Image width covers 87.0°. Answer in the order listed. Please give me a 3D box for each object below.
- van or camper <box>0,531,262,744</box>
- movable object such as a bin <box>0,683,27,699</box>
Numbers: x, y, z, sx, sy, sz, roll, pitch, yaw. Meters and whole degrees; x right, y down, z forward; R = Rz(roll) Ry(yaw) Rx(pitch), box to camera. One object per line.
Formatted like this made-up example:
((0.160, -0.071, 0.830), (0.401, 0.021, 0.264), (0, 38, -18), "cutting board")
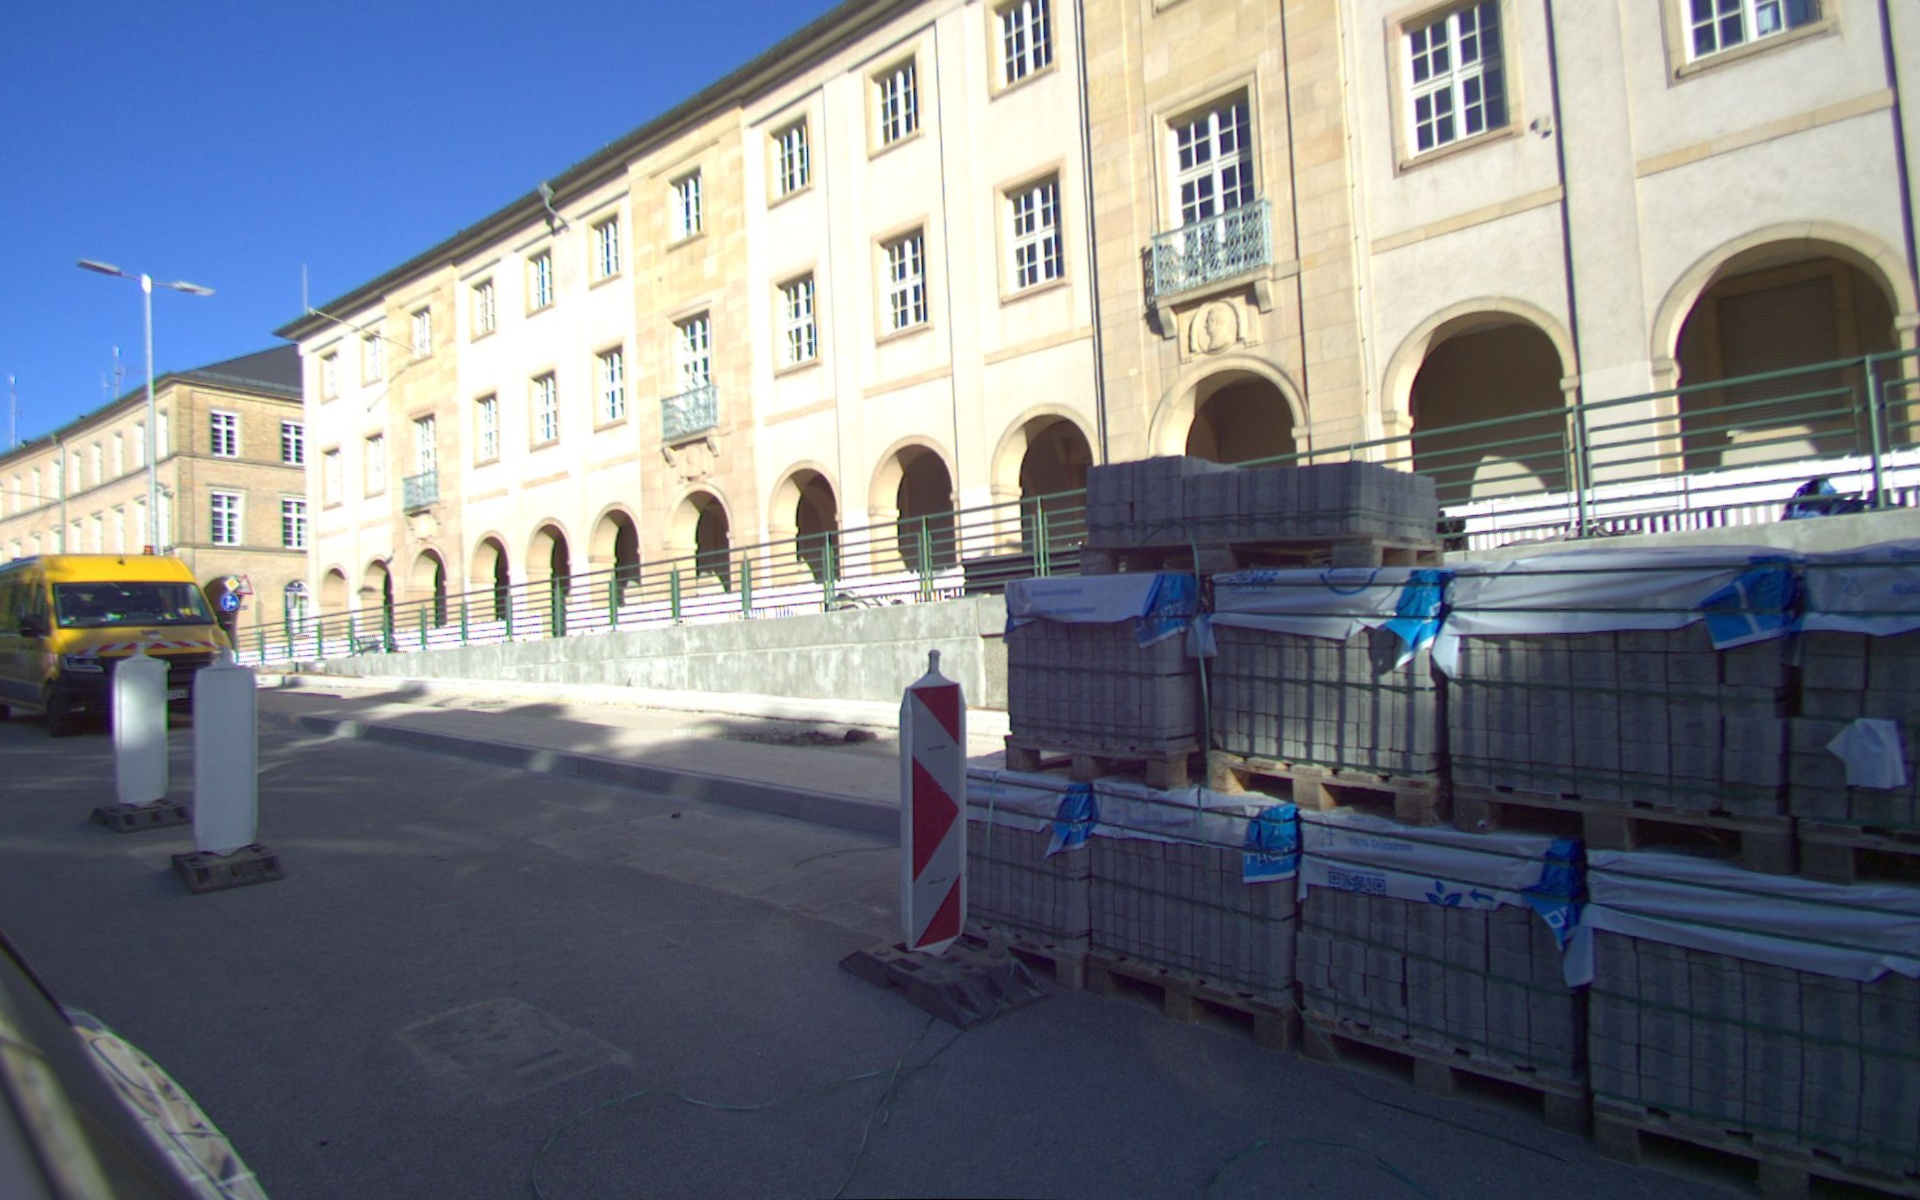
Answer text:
((-13.190, 0.531, 15.472), (6.815, 2.632, 2.173), (-2, 0, 38), "van or camper")
((-45.338, 4.349, 48.099), (1.235, 0.703, 1.179), (-5, -4, 30), "movable object such as a bin")
